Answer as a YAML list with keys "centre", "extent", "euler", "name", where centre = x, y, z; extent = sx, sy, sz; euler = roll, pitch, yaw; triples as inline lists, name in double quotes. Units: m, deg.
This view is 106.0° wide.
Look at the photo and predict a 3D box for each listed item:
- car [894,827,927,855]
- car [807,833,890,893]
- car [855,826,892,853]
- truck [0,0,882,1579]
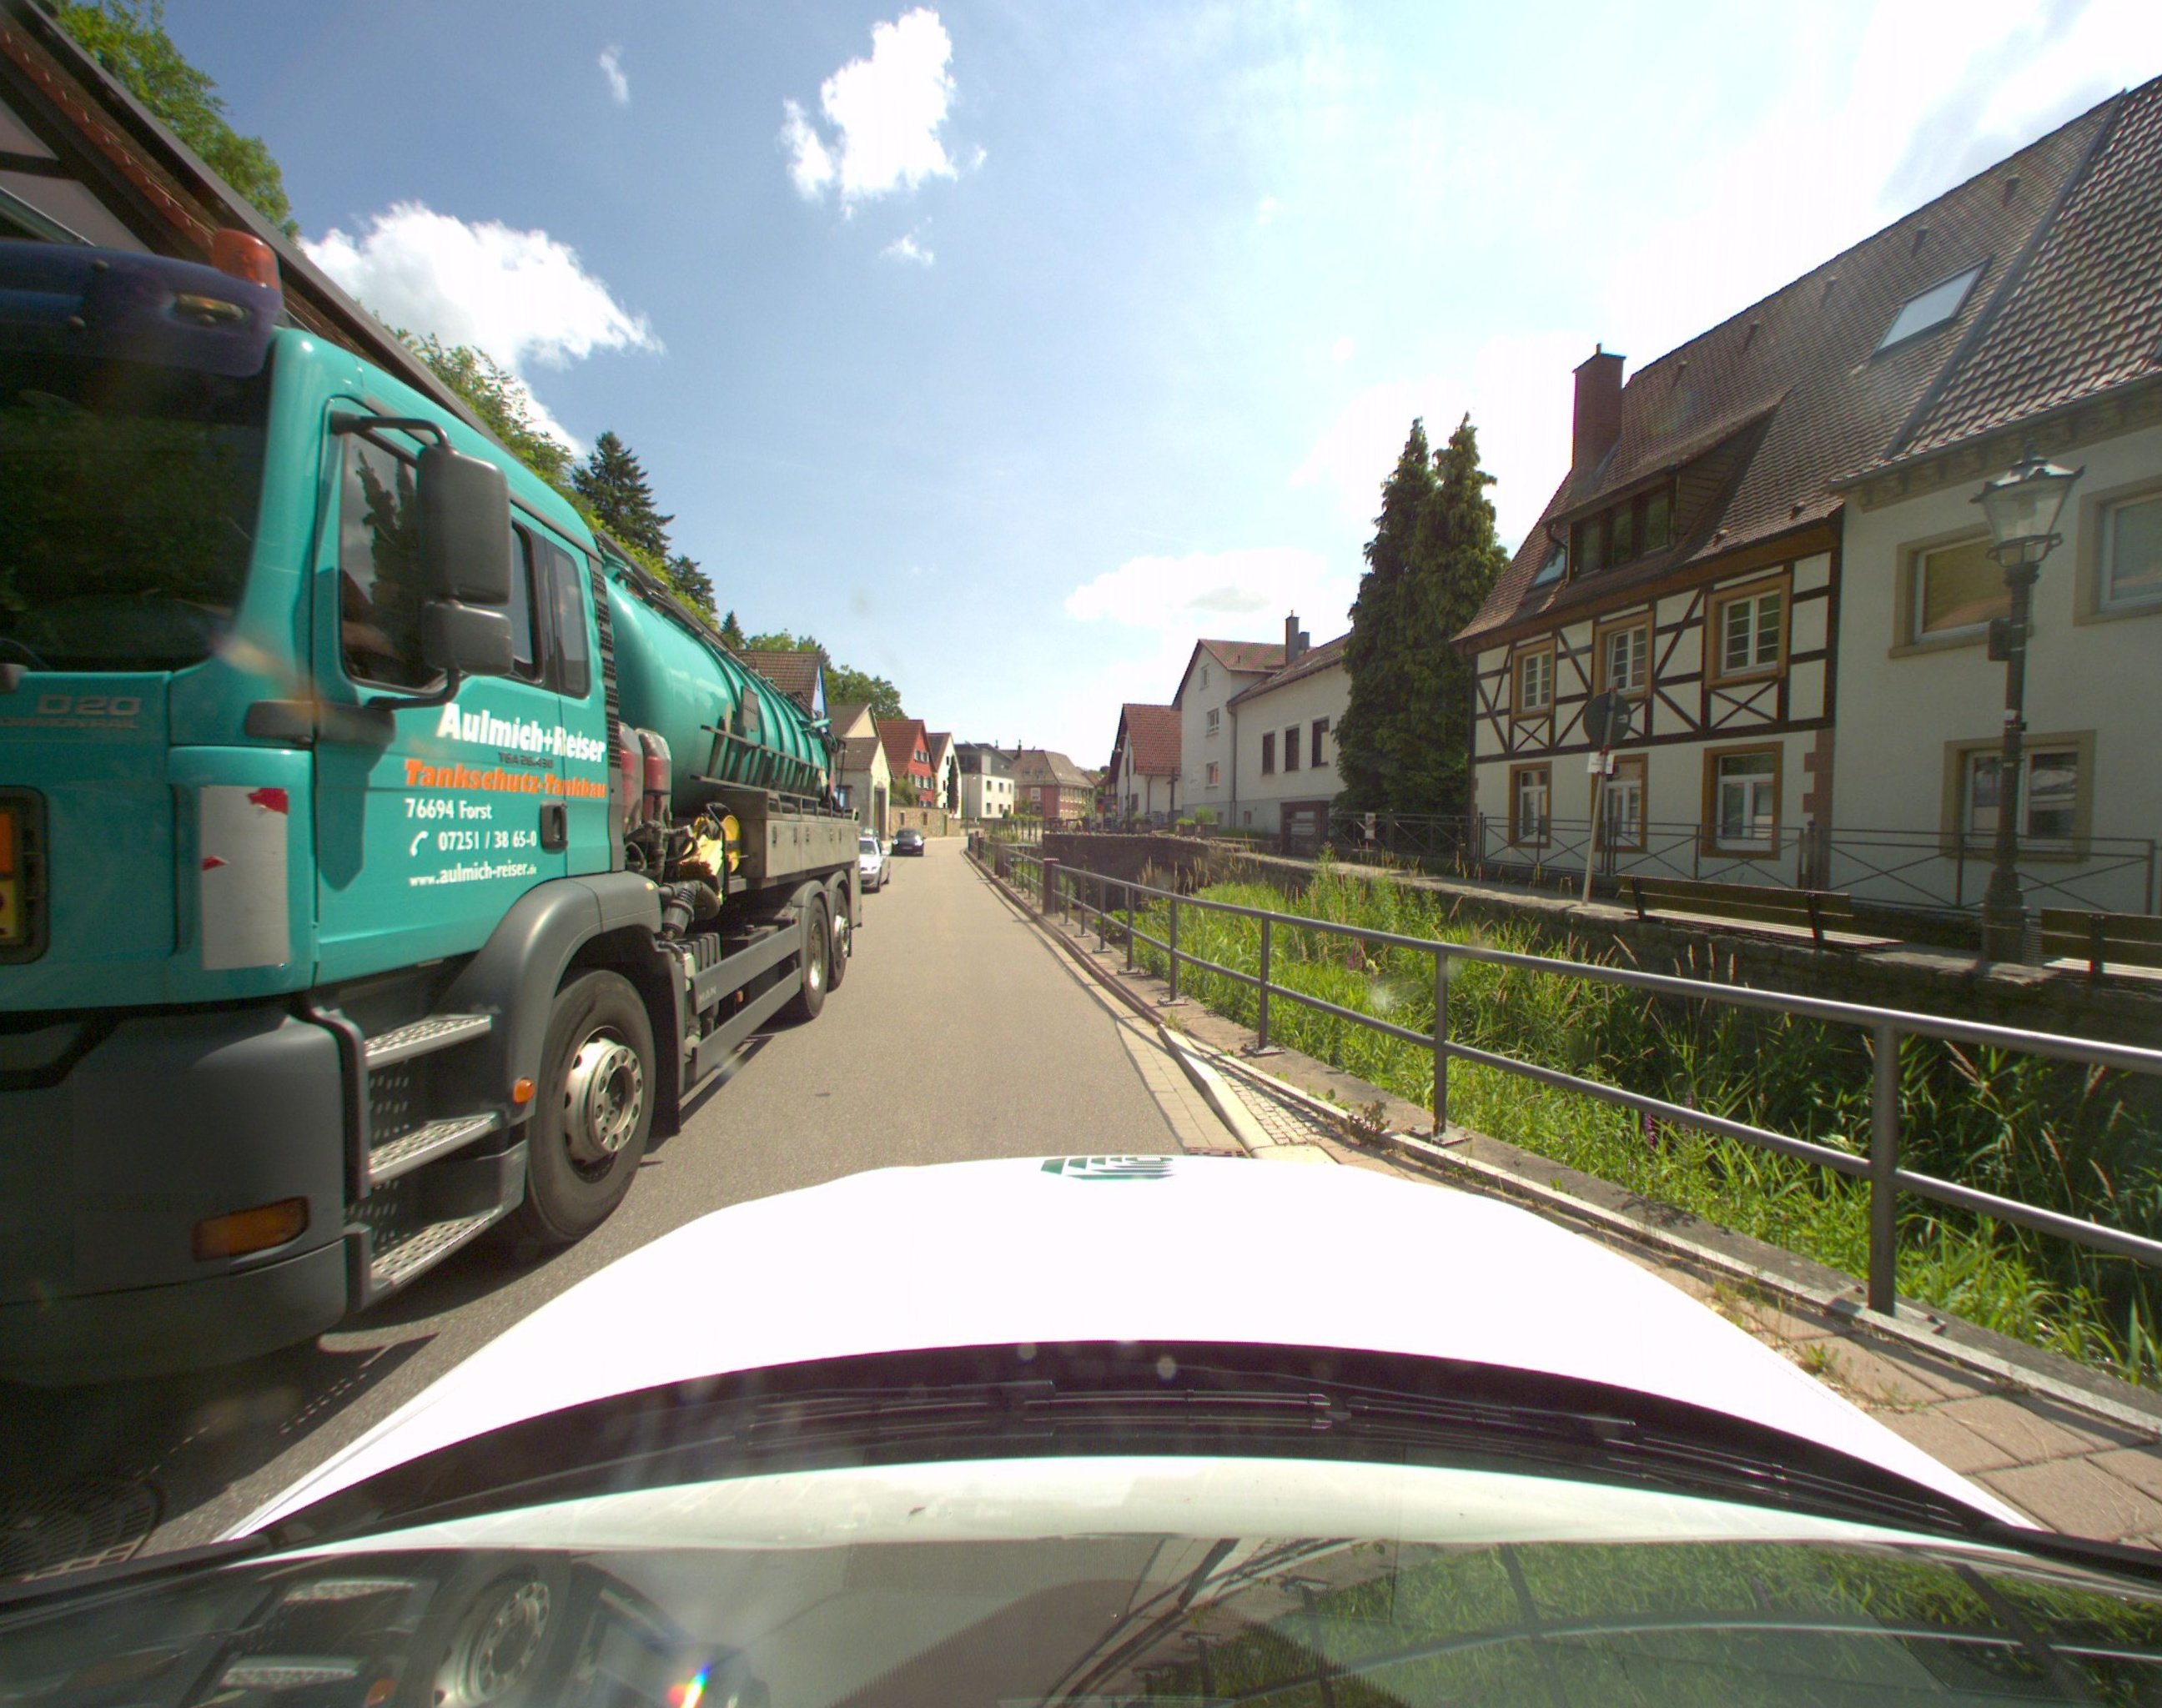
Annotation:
- centre: [-9.380, -0.739, 44.909]
  extent: [1.700, 1.465, 4.418]
  euler: [-1, 1, -11]
  name: "car"
- centre: [-6.484, 0.171, 23.145]
  extent: [1.896, 1.500, 4.596]
  euler: [0, 2, -12]
  name: "car"
- centre: [-12.563, -0.891, 49.535]
  extent: [1.716, 1.529, 3.847]
  euler: [0, 3, -8]
  name: "car"
- centre: [-3.400, -0.413, 6.301]
  extent: [2.409, 3.657, 9.545]
  euler: [-2, 1, -7]
  name: "truck"
